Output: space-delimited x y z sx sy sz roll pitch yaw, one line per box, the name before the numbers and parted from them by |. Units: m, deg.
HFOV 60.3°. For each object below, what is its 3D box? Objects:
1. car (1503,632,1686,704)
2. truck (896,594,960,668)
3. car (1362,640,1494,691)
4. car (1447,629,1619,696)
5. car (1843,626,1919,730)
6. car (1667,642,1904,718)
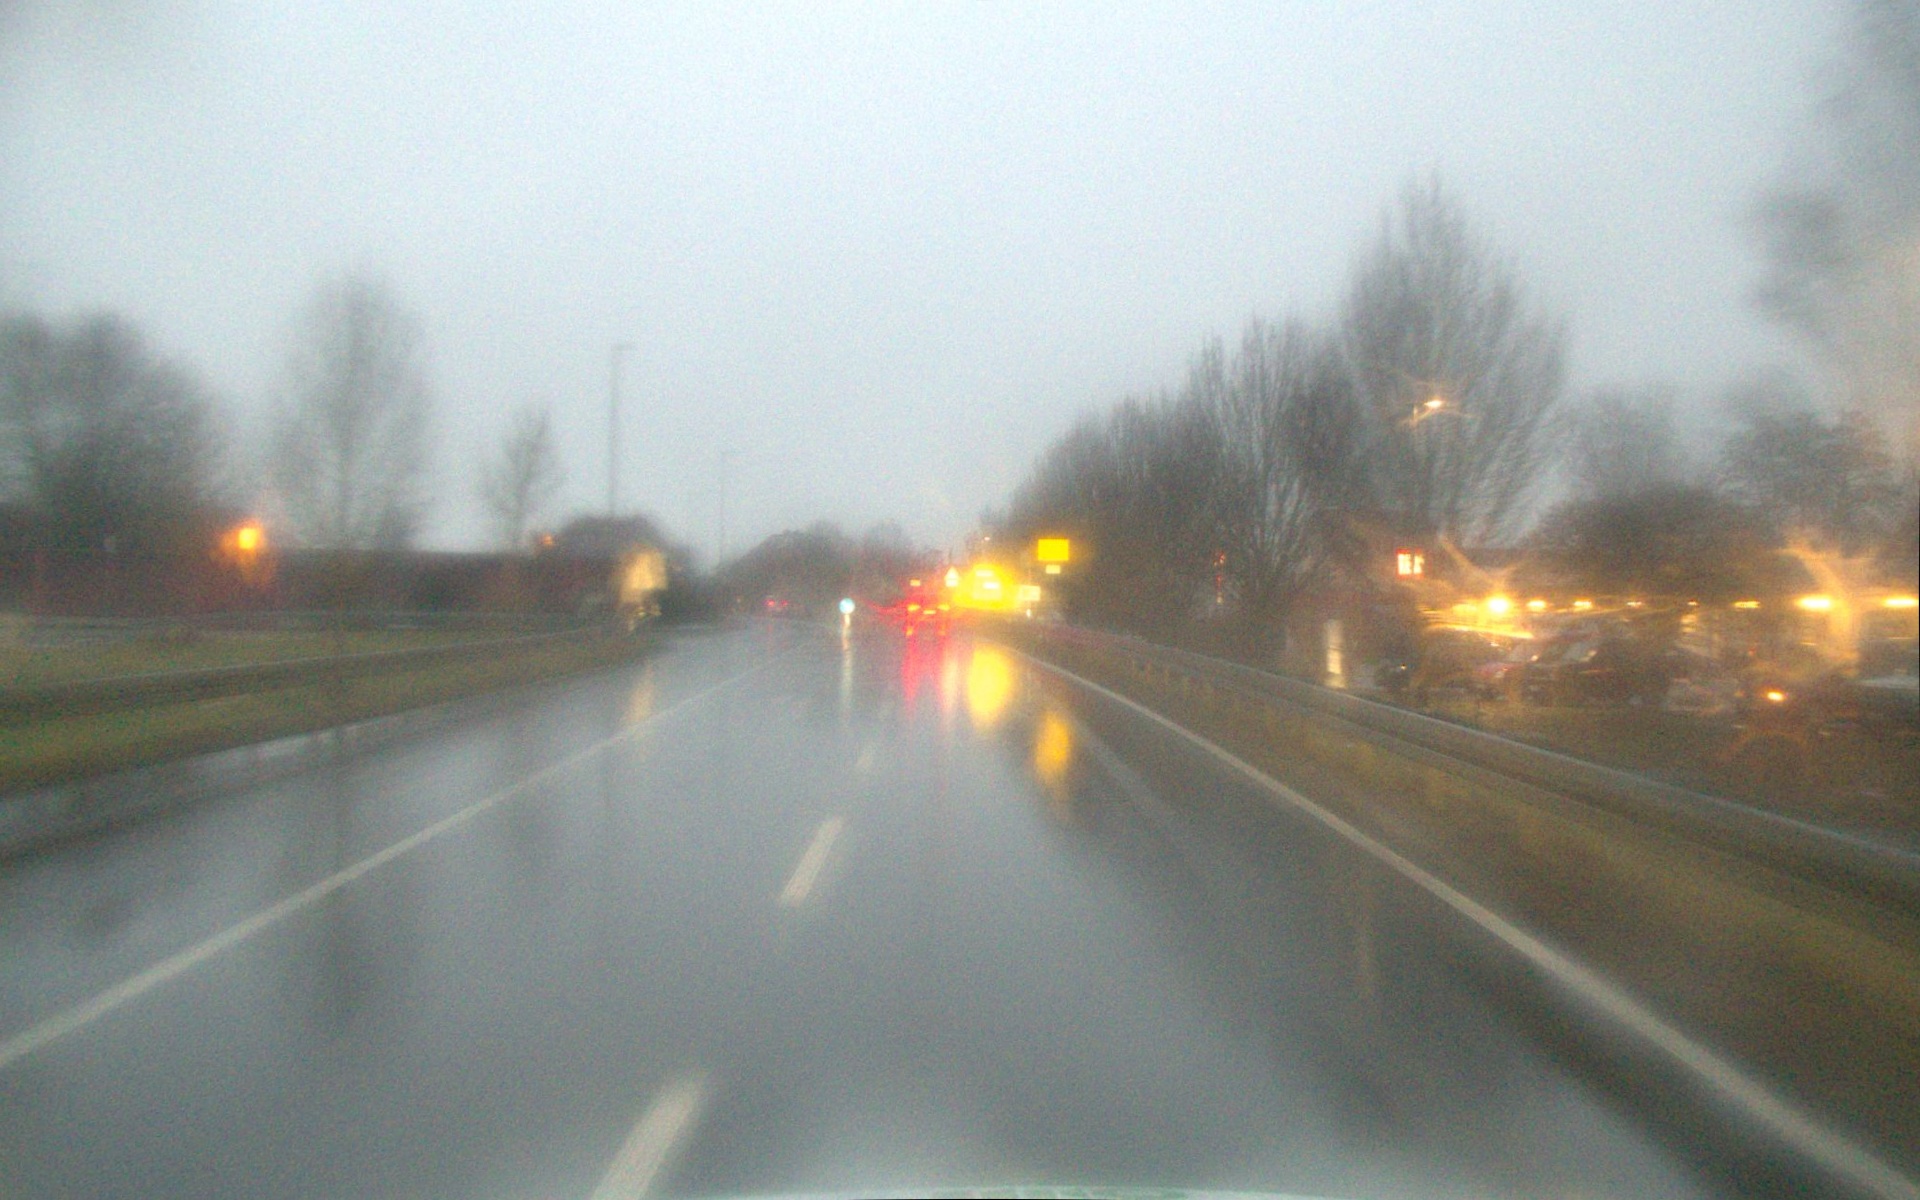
car | 16.246 1.721 42.395 4.065 1.760 2.010 0 -2 -20
truck | -1.395 1.231 69.422 2.481 2.919 5.919 1 0 -3
car | 14.050 1.962 49.701 3.472 1.448 1.658 2 -2 -11
car | 15.546 1.663 44.935 4.064 1.755 2.011 0 -1 -19
car | 18.904 1.485 31.105 4.059 1.867 1.655 2 -2 -16
car | 17.443 1.661 34.977 4.645 1.516 1.654 0 -2 -17
